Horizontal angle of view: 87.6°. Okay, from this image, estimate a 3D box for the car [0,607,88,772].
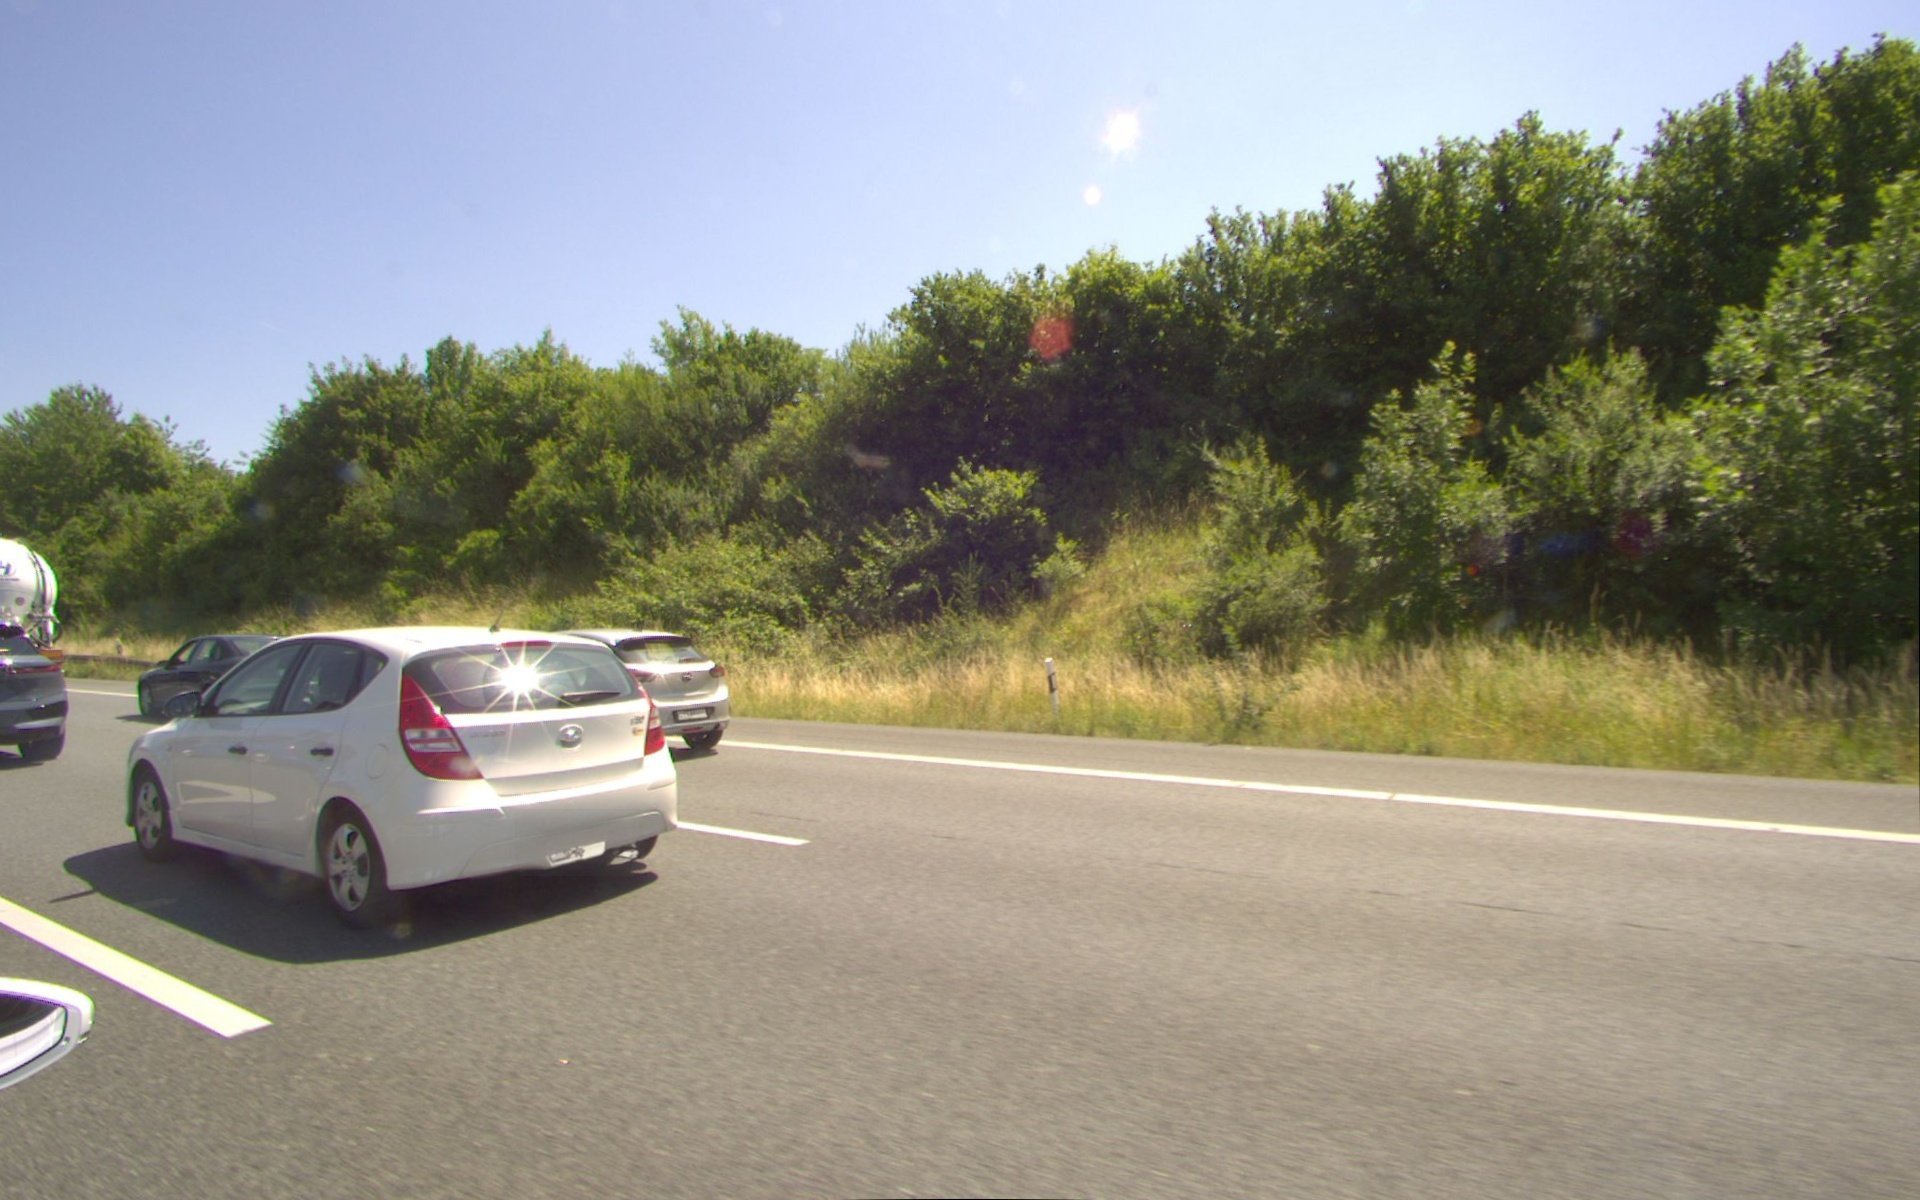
[{"bbox_3d":[-12.153,0.999,11.572,4.561,1.737,1.995,-2,-1,33],"label":"car"}]

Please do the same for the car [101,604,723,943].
[{"bbox_3d":[-3.553,0.838,6.305,3.945,1.504,1.813,-2,-1,33],"label":"car"}]

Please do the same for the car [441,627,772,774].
[{"bbox_3d":[-4.335,1.085,12.120,3.970,1.462,1.727,0,-1,32],"label":"car"}]

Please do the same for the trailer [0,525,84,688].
[{"bbox_3d":[-27.580,0.252,27.114,11.322,3.895,2.756,-1,-1,32],"label":"trailer"}]

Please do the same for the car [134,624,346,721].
[{"bbox_3d":[-12.298,1.175,17.047,3.934,1.435,1.637,-2,-1,33],"label":"car"}]
